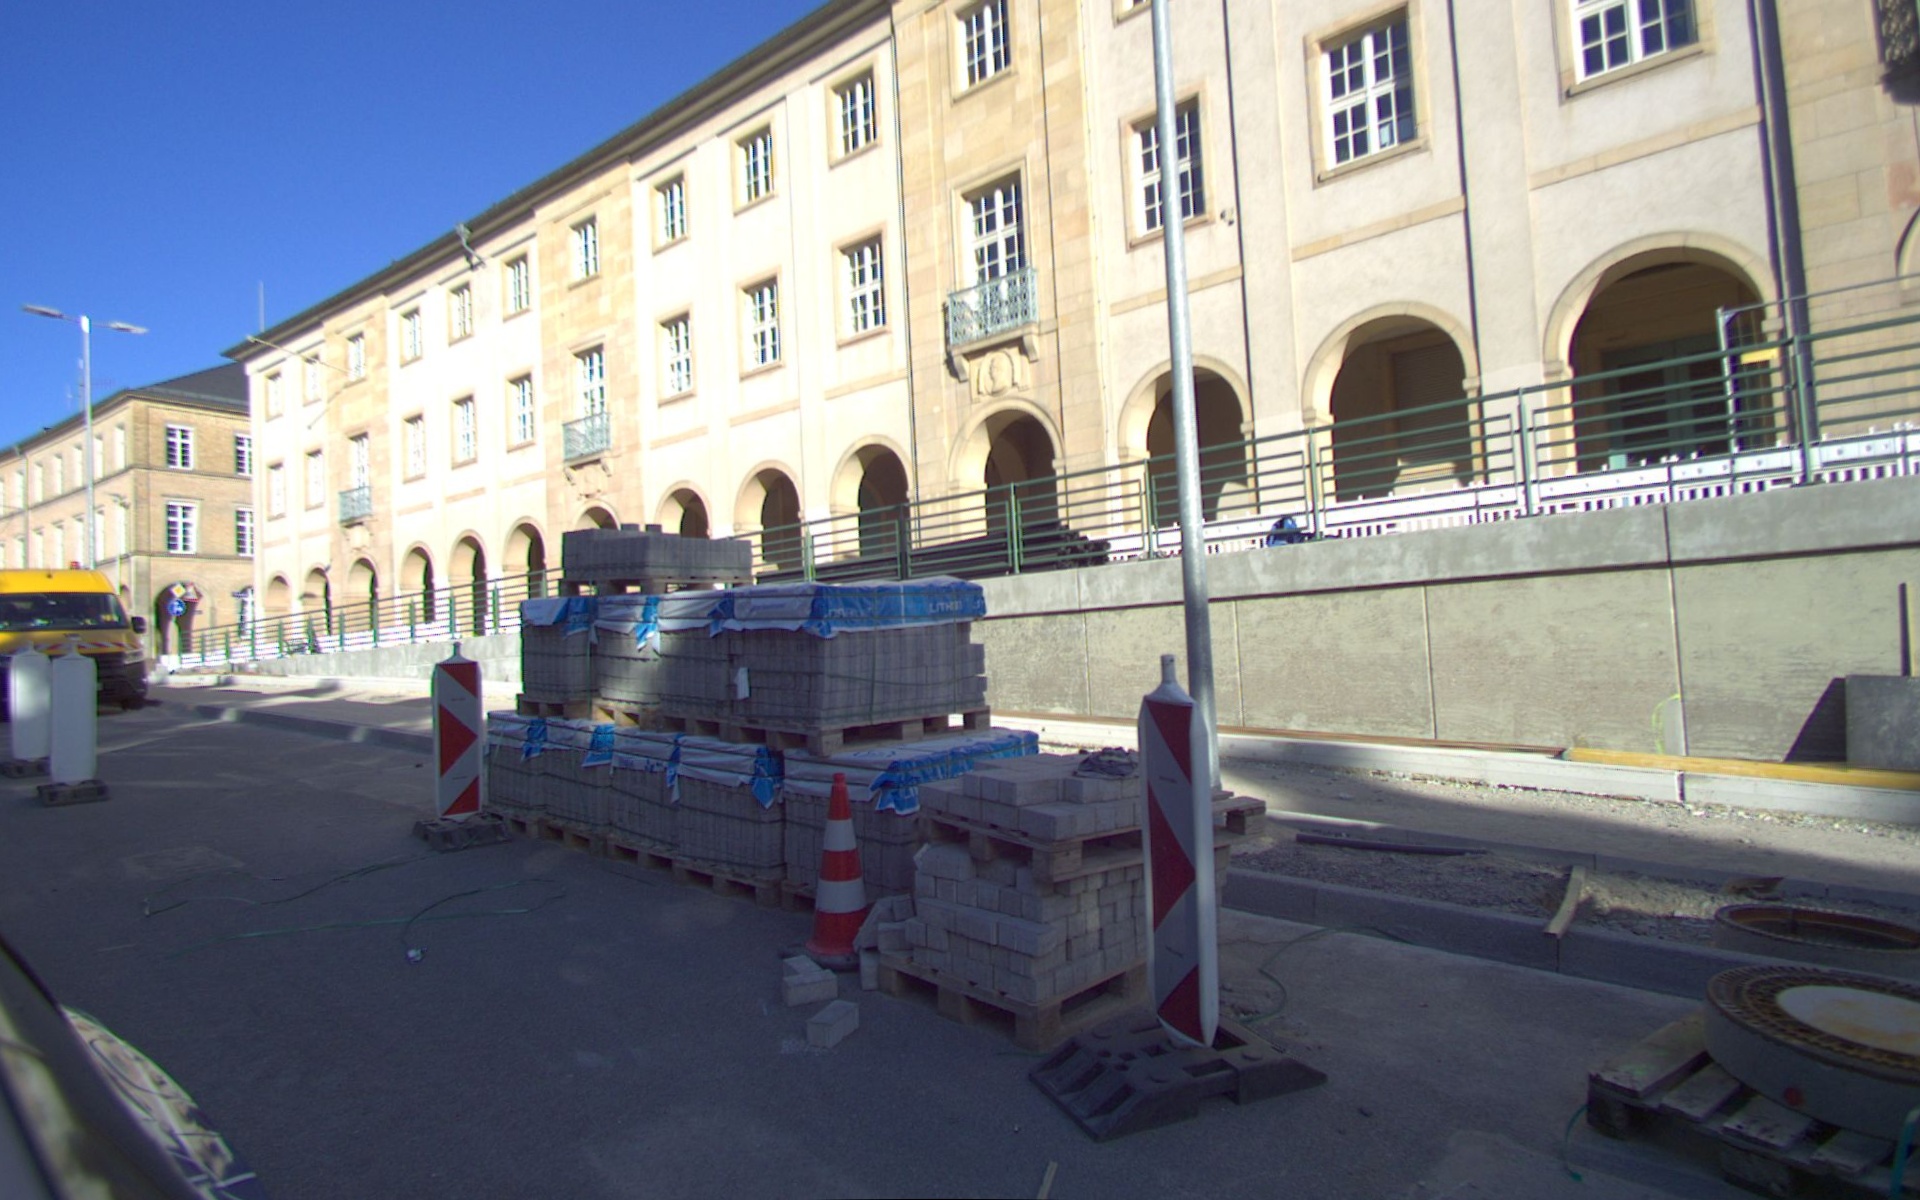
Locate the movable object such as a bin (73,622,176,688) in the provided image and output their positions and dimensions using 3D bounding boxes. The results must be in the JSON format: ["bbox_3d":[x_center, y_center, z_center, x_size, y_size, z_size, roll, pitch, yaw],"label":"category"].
[{"bbox_3d":[-33.165,2.227,40.136,4.298,2.414,2.080,-4,-5,36],"label":"movable object such as a bin"}]

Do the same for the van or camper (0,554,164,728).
[{"bbox_3d":[-16.664,0.708,18.083,6.814,2.632,2.173,-2,0,38],"label":"van or camper"}]
